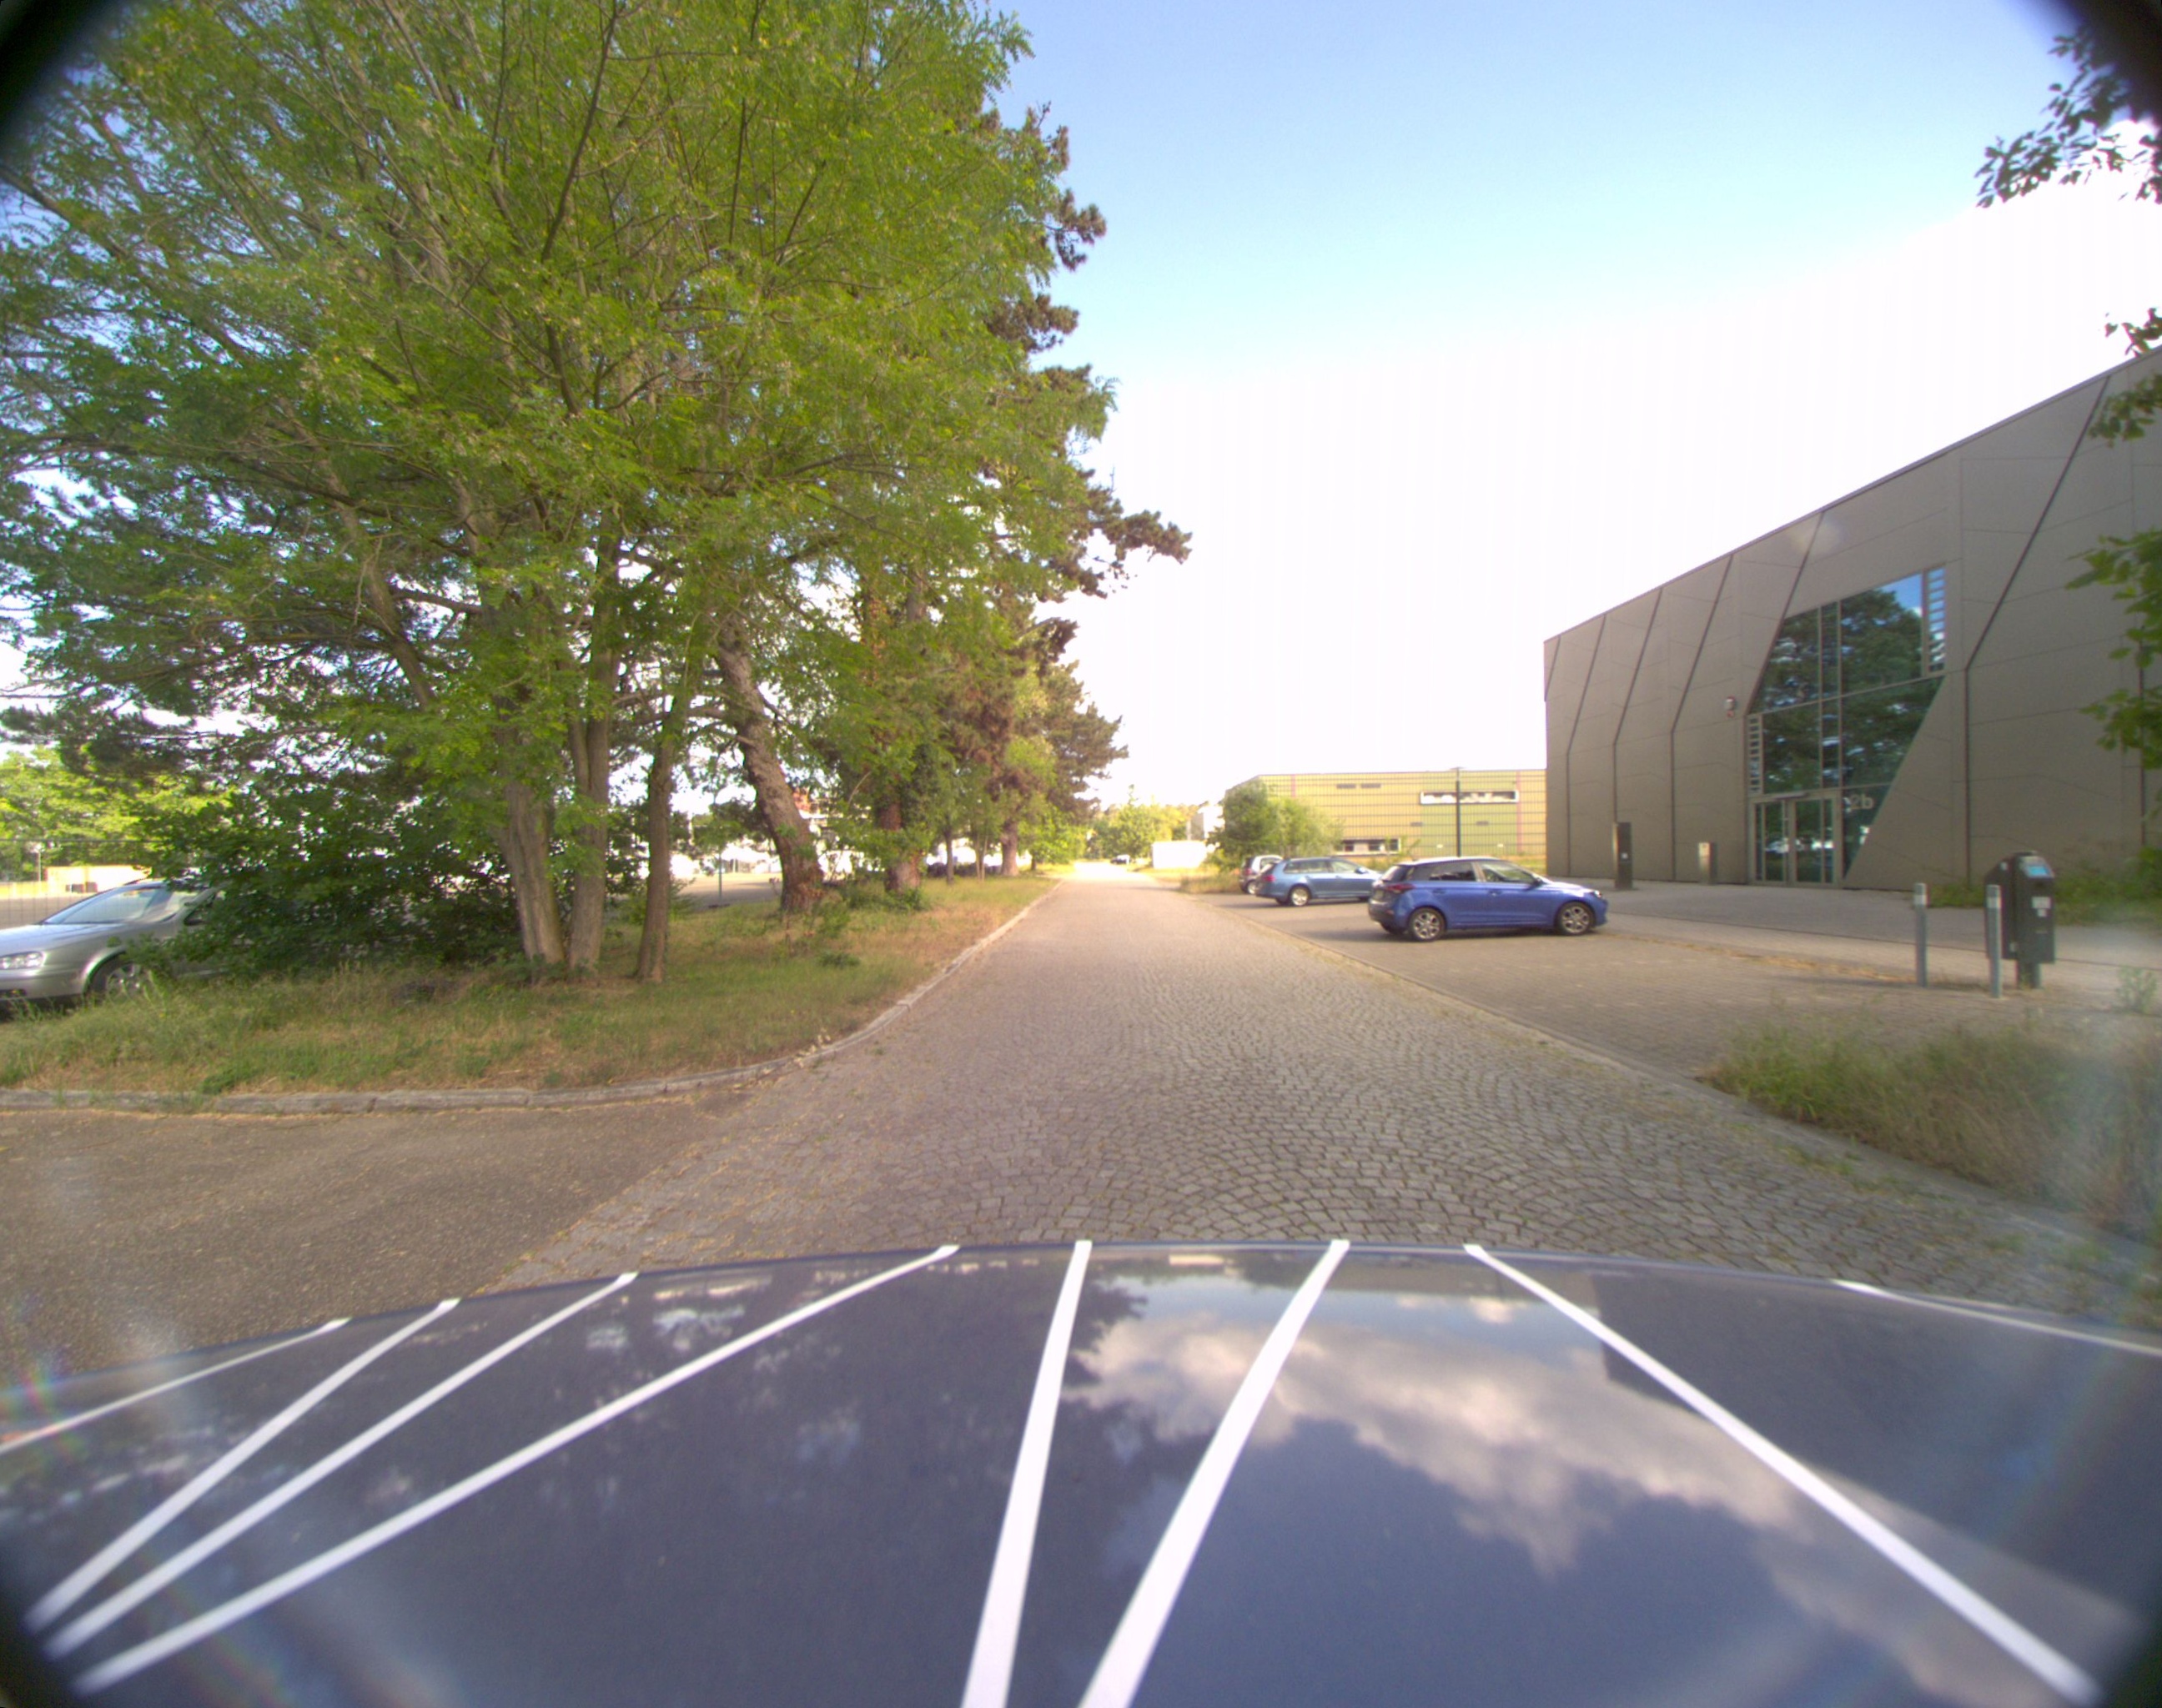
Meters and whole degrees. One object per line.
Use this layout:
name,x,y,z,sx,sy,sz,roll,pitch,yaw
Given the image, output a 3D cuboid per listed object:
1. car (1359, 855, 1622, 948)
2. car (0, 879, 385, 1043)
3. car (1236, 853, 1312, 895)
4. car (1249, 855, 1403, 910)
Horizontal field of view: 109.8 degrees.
car,7.469,0.844,14.179,3.917,1.459,1.735,-2,0,3
car,-11.098,1.113,9.283,1.578,1.435,3.986,-1,0,-2
car,7.845,0.788,31.021,2.652,1.559,1.481,-2,0,0
car,7.530,0.845,23.636,4.179,1.465,1.734,-2,0,-1
